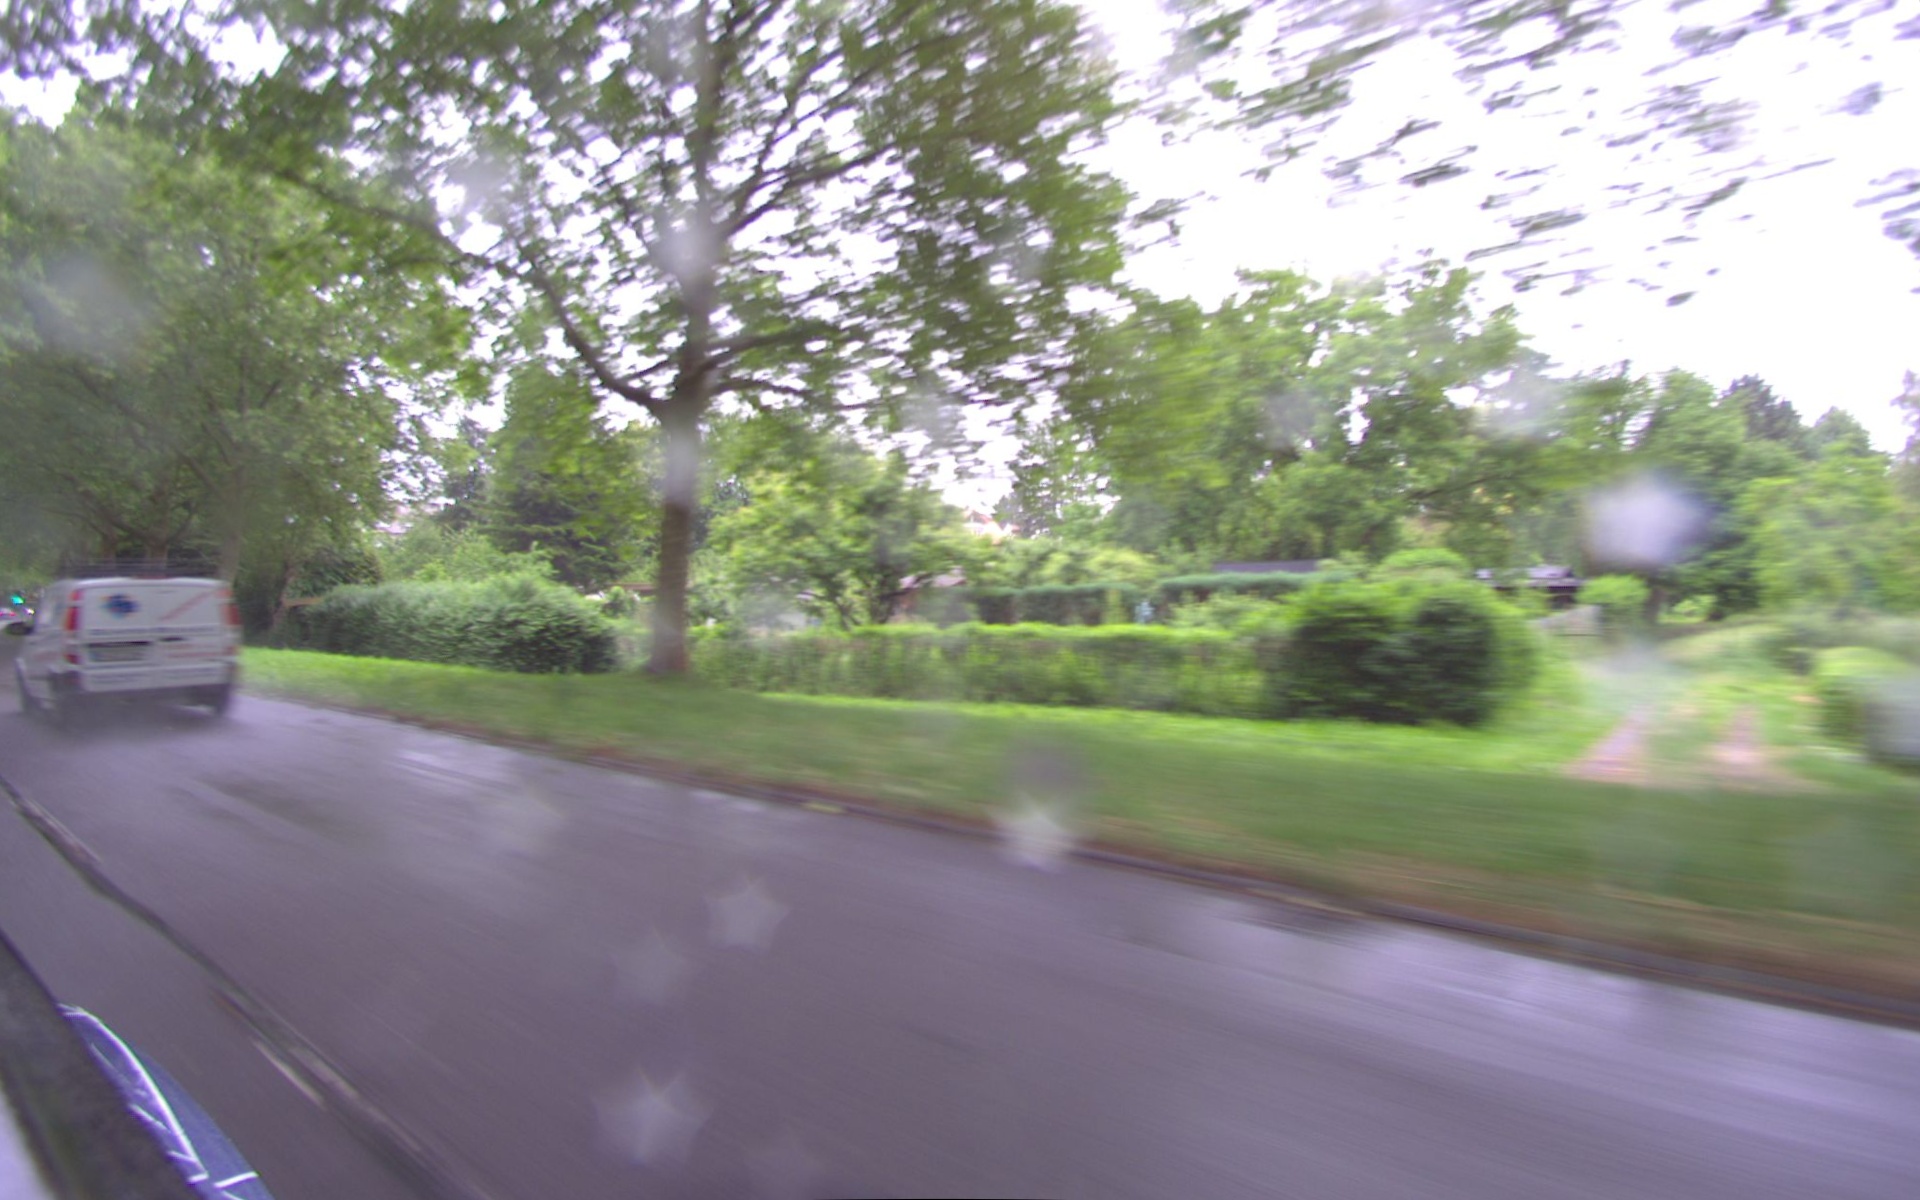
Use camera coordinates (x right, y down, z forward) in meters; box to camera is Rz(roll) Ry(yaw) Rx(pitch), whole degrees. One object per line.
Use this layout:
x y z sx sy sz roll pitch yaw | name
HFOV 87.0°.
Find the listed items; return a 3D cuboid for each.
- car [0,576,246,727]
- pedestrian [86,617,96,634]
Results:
-11.852 0.638 14.190 5.012 1.763 1.843 -1 -1 41 | car
-75.113 2.221 87.476 0.591 1.464 0.857 -2 1 -43 | pedestrian
